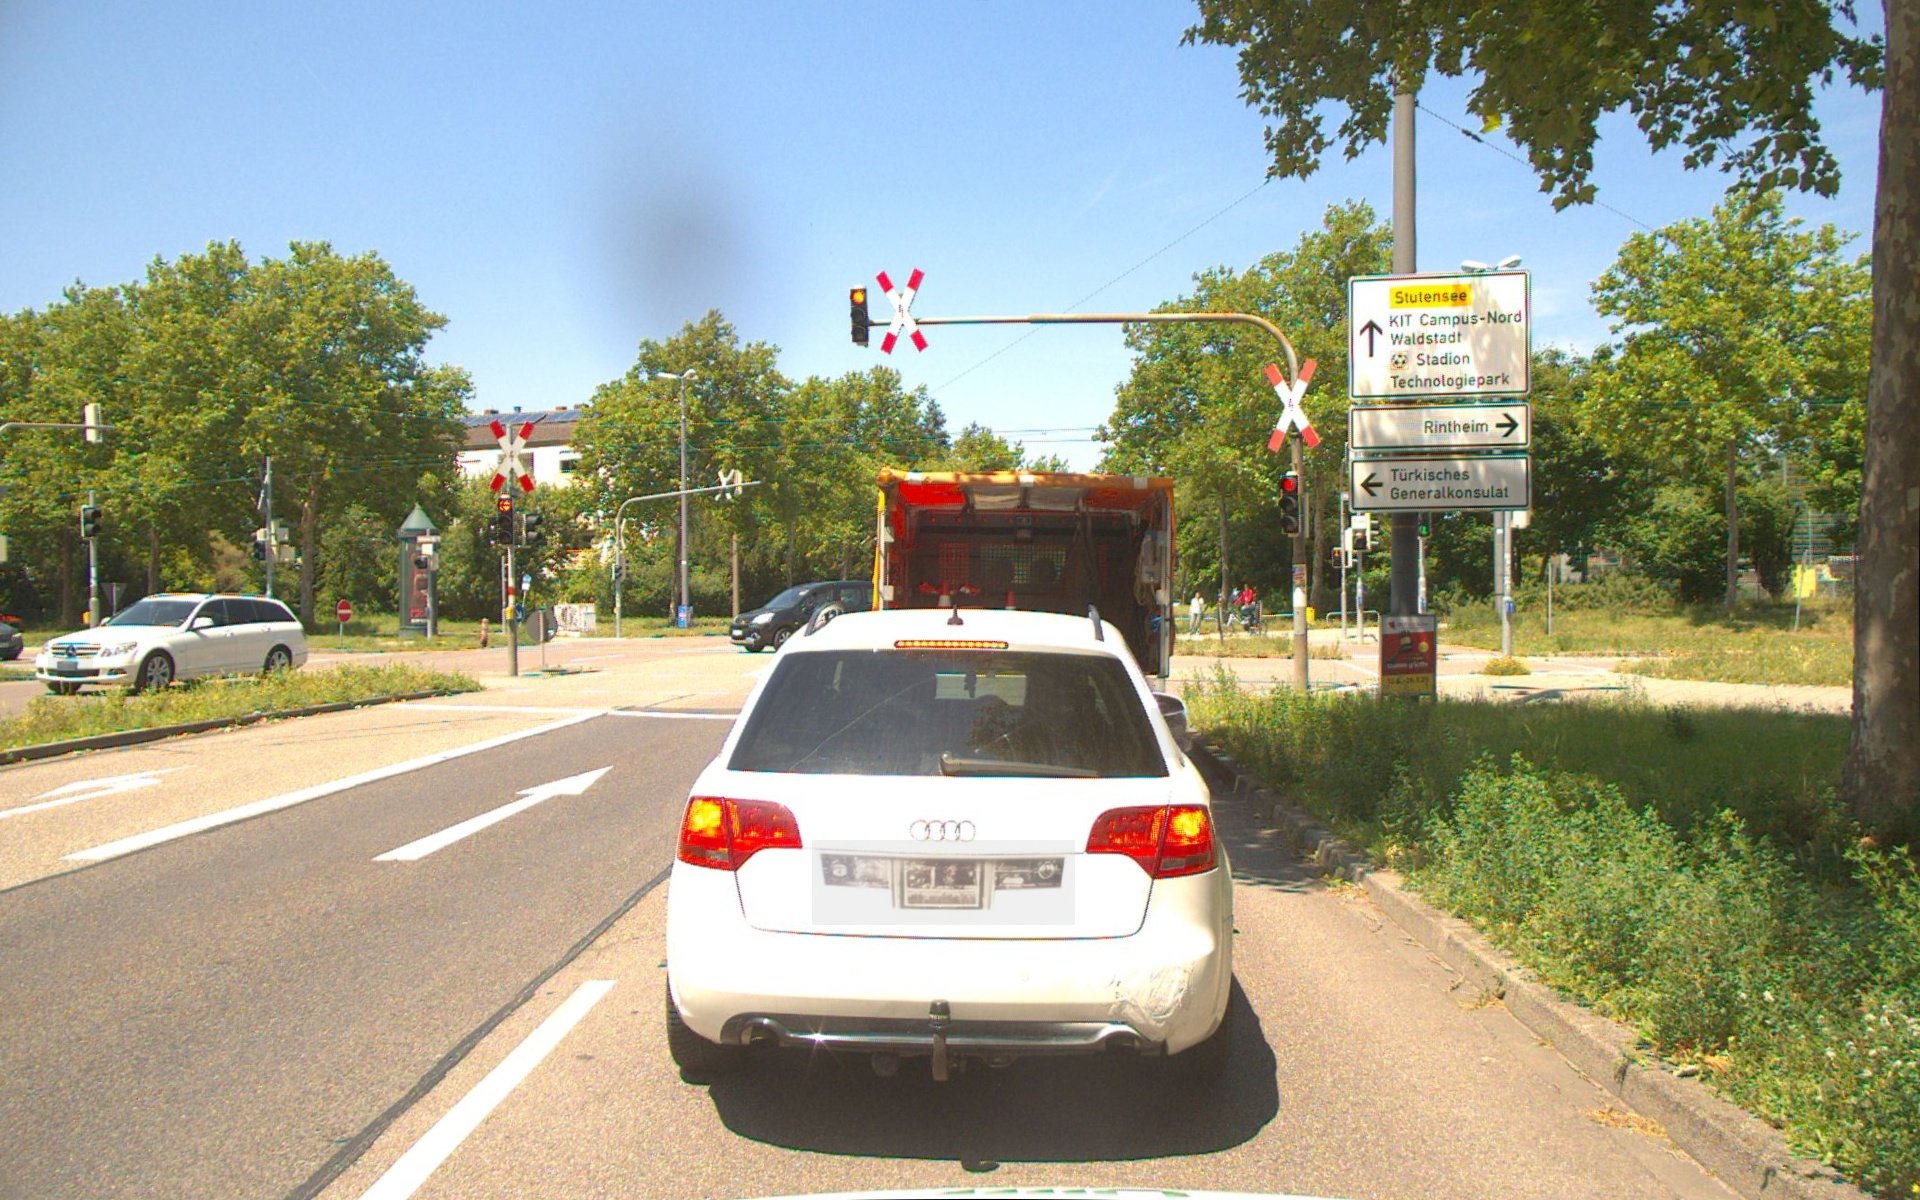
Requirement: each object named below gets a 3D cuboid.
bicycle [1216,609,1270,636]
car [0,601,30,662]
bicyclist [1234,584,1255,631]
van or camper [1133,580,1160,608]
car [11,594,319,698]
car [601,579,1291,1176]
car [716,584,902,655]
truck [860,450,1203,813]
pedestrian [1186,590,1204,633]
[{"bbox_3d":[9.566,0.758,55.951,1.767,0.911,0.589,0,0,6],"label":"bicycle"},{"bbox_3d":[-25.478,0.795,41.816,3.907,1.483,1.760,0,0,32],"label":"car"},{"bbox_3d":[9.624,0.263,55.964,0.657,1.583,0.580,-1,0,6],"label":"bicyclist"},{"bbox_3d":[22.626,-0.695,200.228,2.604,3.389,5.505,0,0,14],"label":"van or camper"},{"bbox_3d":[-12.120,0.643,25.609,1.814,1.443,4.551,-1,0,14],"label":"car"},{"bbox_3d":[0.063,0.680,5.961,1.725,1.470,3.617,0,0,3],"label":"car"},{"bbox_3d":[-3.841,0.464,42.367,4.387,1.708,1.896,-1,0,-32],"label":"car"},{"bbox_3d":[0.676,0.228,15.851,2.459,2.604,7.605,1,0,2],"label":"truck"},{"bbox_3d":[8.325,0.400,58.539,0.541,1.510,0.630,-1,0,16],"label":"pedestrian"}]
